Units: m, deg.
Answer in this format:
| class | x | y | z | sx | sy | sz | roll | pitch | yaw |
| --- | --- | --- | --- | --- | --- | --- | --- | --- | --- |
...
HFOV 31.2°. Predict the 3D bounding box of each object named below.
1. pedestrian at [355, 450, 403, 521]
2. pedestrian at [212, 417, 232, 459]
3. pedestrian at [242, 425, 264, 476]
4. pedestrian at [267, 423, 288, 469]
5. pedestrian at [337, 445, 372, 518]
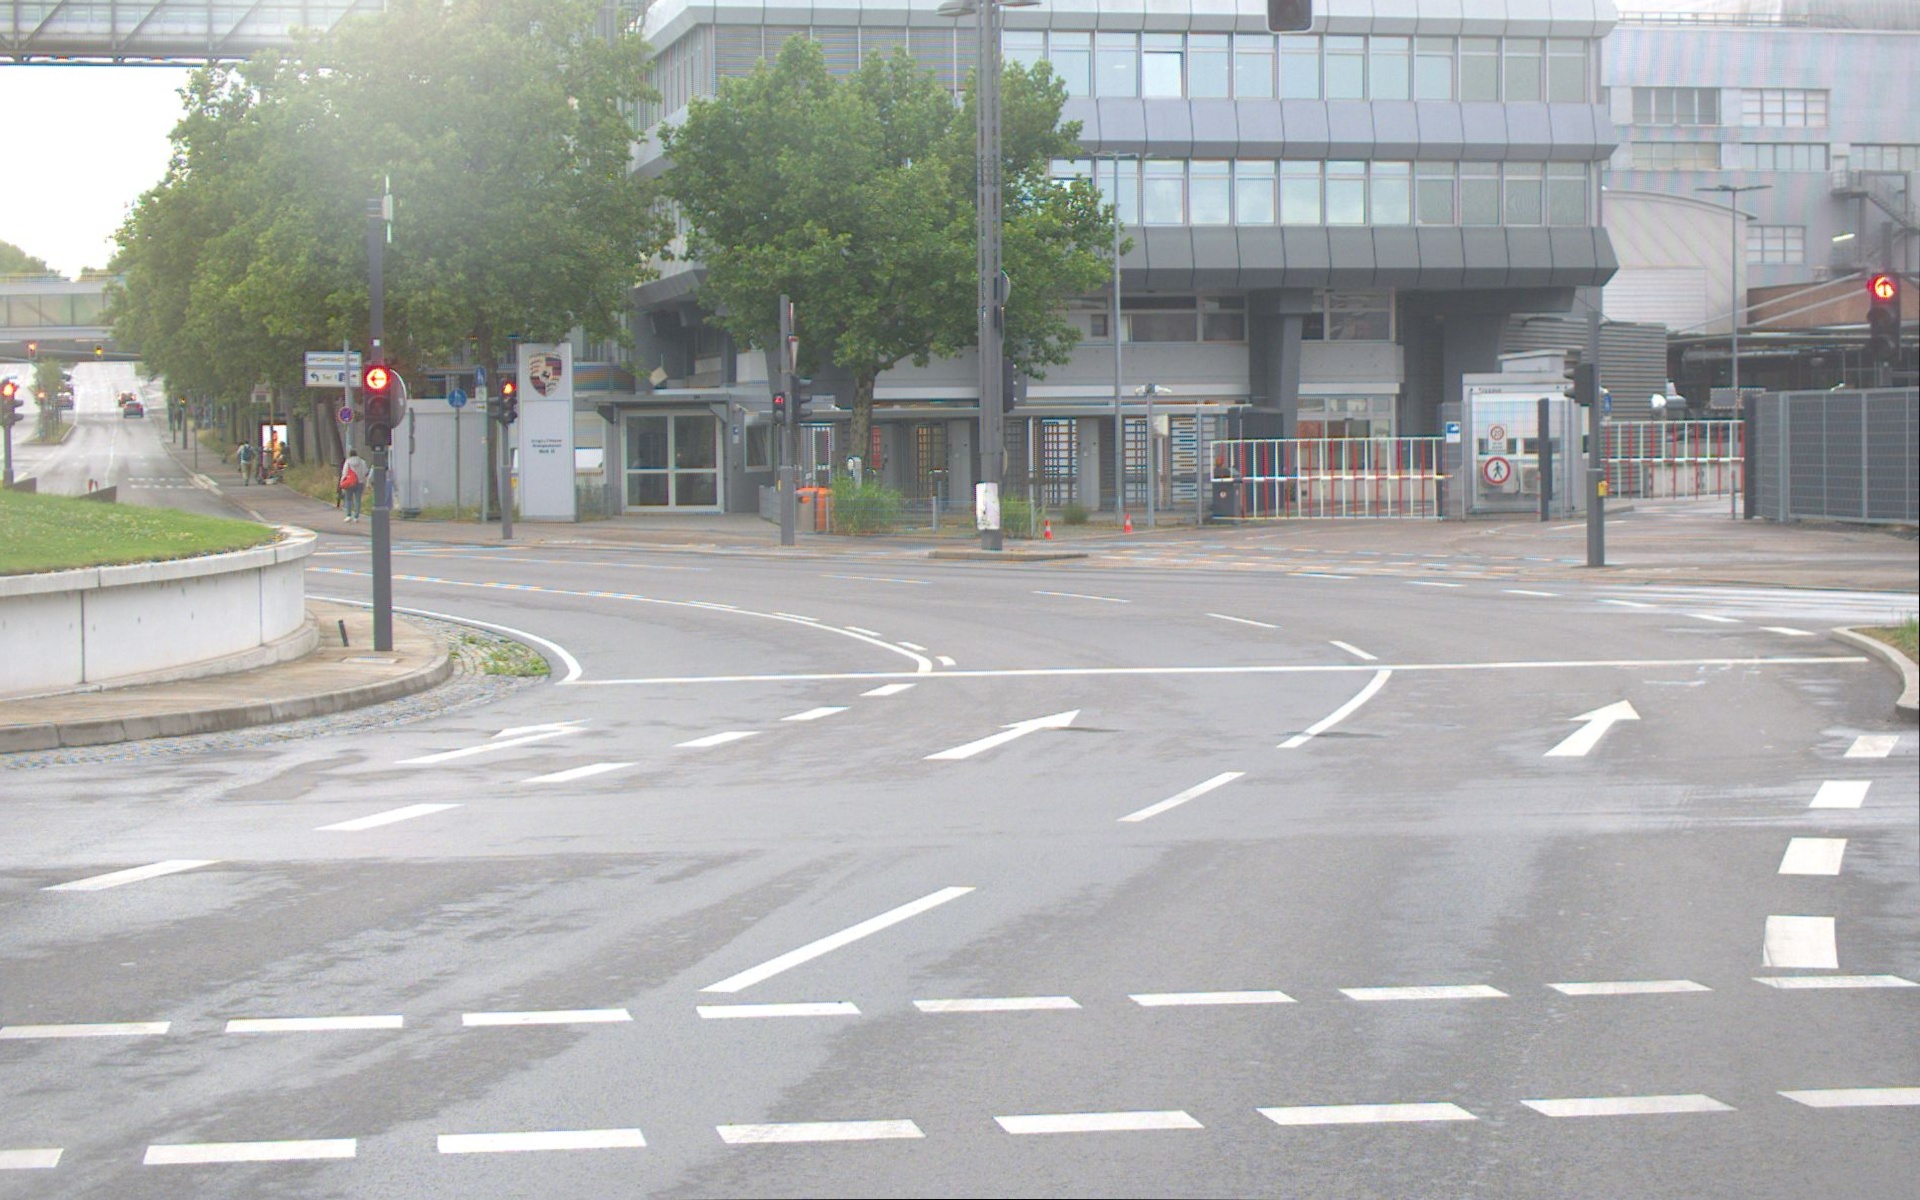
| class | x | y | z | sx | sy | sz | roll | pitch | yaw |
| --- | --- | --- | --- | --- | --- | --- | --- | --- | --- |
| pedestrian | -12.642 | -2.494 | 74.814 | 0.831 | 1.515 | 0.842 | -2 | 3 | -24 |
| pedestrian | -35.645 | -7.815 | 165.939 | 0.765 | 2.006 | 0.692 | 0 | 2 | 3 |
| pedestrian | -24.904 | -5.261 | 121.129 | 0.711 | 1.734 | 0.760 | 1 | 0 | -14 |
| pedestrian | -25.878 | -5.839 | 130.350 | 0.757 | 1.734 | 0.714 | 1 | 0 | -10 |
| pedestrian | -13.361 | -2.630 | 75.904 | 0.709 | 1.586 | 0.841 | -1 | 3 | -9 |
